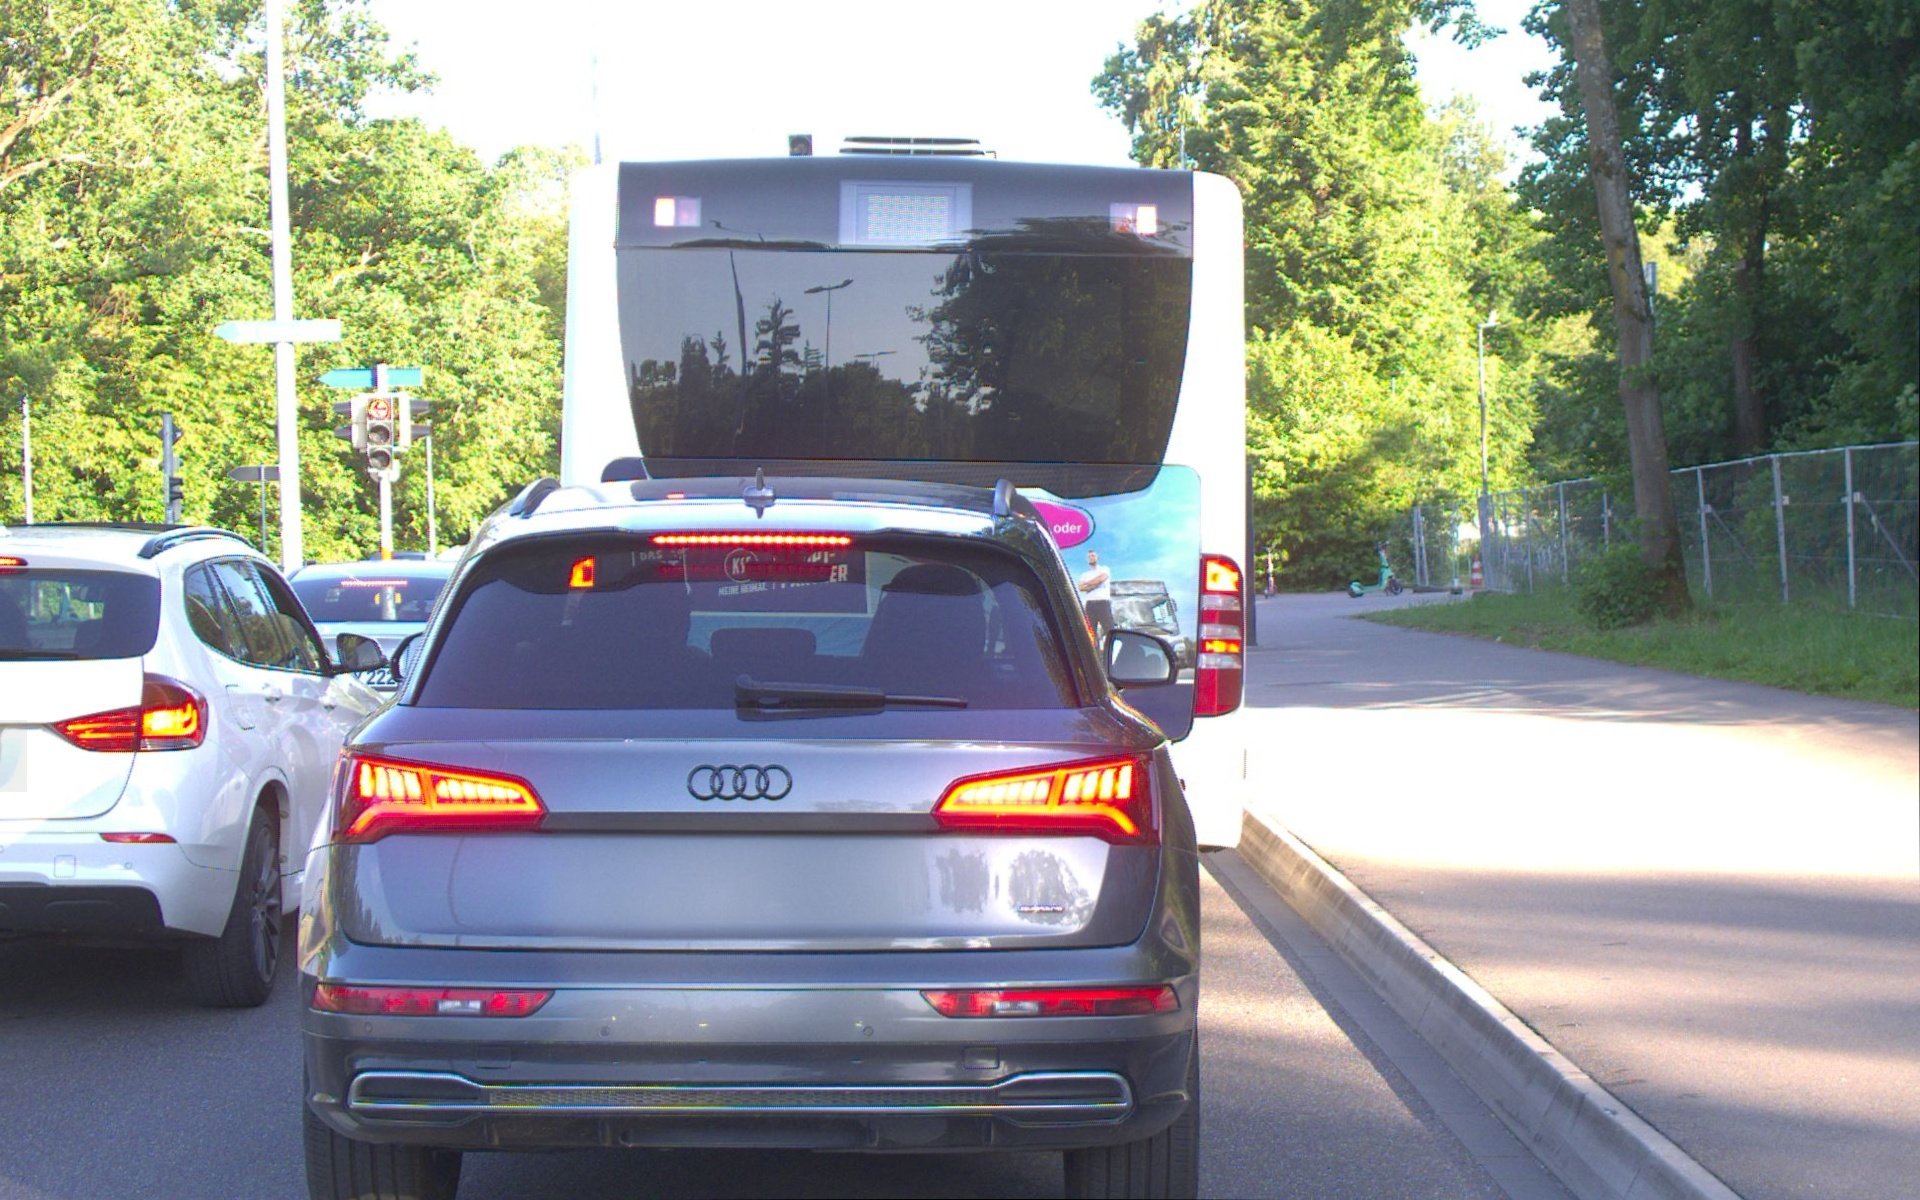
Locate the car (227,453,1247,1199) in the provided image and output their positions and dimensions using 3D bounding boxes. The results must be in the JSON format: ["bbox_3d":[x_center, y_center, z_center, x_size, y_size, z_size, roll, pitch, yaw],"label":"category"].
[{"bbox_3d":[-0.439,0.514,8.359,1.868,1.658,4.000,1,2,-1],"label":"car"}]

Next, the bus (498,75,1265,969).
[{"bbox_3d":[-0.250,-0.355,15.125,2.678,3.131,5.882,1,2,1],"label":"bus"}]

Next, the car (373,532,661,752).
[{"bbox_3d":[-3.456,0.272,27.456,1.808,1.567,4.000,1,2,-1],"label":"car"}]

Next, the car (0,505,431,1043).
[{"bbox_3d":[-3.083,0.472,12.324,1.718,1.575,4.434,1,1,-1],"label":"car"}]

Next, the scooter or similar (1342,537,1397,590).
[{"bbox_3d":[9.310,-0.832,78.079,1.184,1.170,0.659,1,1,11],"label":"scooter or similar"}]

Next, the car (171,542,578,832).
[{"bbox_3d":[-3.280,0.419,20.005,1.785,1.439,4.278,1,2,-2],"label":"car"}]
